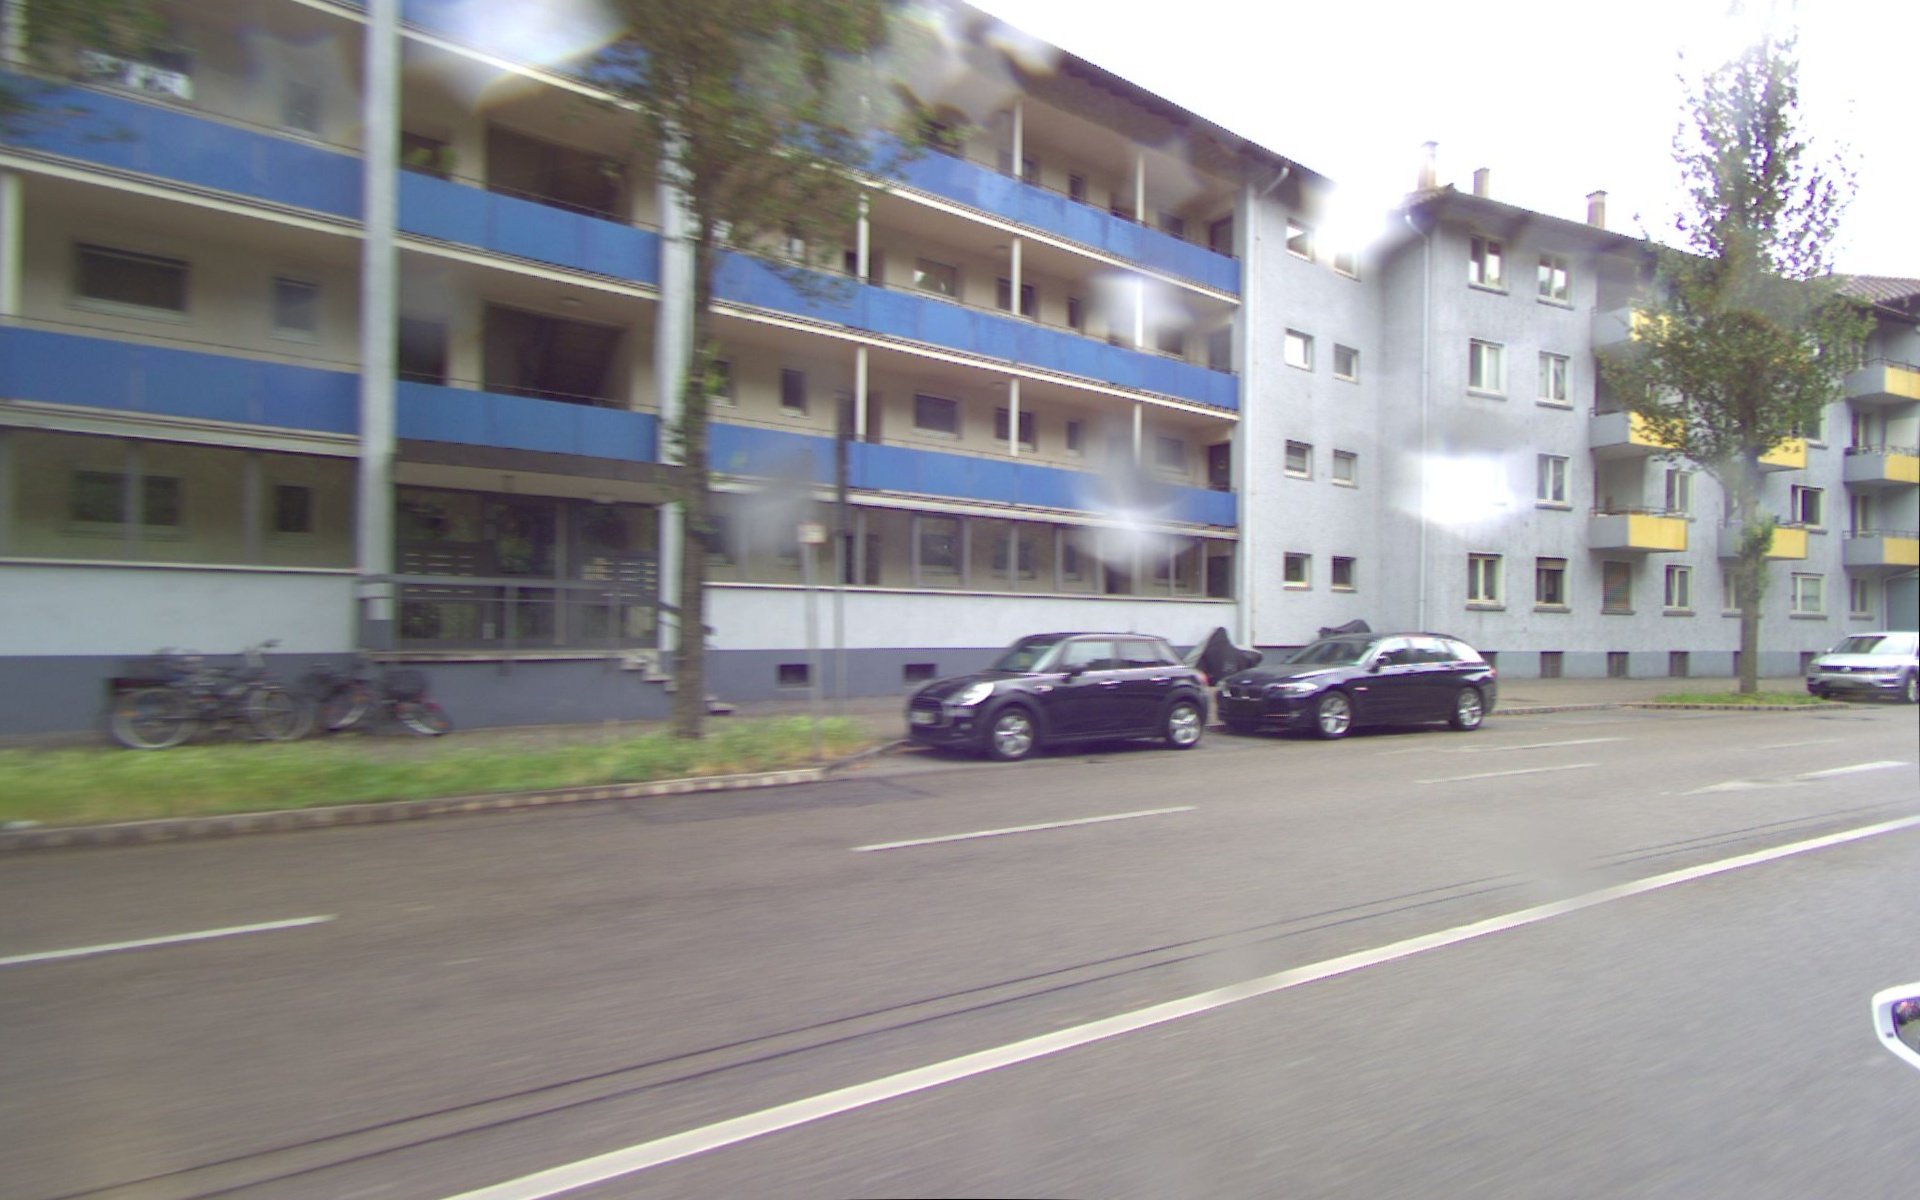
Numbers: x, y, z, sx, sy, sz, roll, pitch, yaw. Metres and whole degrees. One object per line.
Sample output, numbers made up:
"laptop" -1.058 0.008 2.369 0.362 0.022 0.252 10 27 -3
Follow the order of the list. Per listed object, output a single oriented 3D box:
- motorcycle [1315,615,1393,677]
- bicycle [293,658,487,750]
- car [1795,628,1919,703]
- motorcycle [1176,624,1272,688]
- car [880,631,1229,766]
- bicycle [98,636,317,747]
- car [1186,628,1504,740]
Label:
"motorcycle" 9.662 1.111 24.596 2.215 1.433 0.670 2 1 -37
"bicycle" -6.095 1.079 10.787 1.725 0.837 0.662 2 2 -38
"car" 21.848 1.503 23.728 4.477 1.625 1.756 2 -2 -29
"motorcycle" 5.696 1.192 21.644 2.213 1.271 0.671 2 1 -34
"car" 1.205 1.119 12.406 4.040 1.421 1.771 2 -3 -30
"bicycle" -7.725 0.901 10.375 0.605 1.037 1.723 0 -1 44
"car" 5.832 1.209 15.069 4.834 1.458 1.813 2 -3 -30
